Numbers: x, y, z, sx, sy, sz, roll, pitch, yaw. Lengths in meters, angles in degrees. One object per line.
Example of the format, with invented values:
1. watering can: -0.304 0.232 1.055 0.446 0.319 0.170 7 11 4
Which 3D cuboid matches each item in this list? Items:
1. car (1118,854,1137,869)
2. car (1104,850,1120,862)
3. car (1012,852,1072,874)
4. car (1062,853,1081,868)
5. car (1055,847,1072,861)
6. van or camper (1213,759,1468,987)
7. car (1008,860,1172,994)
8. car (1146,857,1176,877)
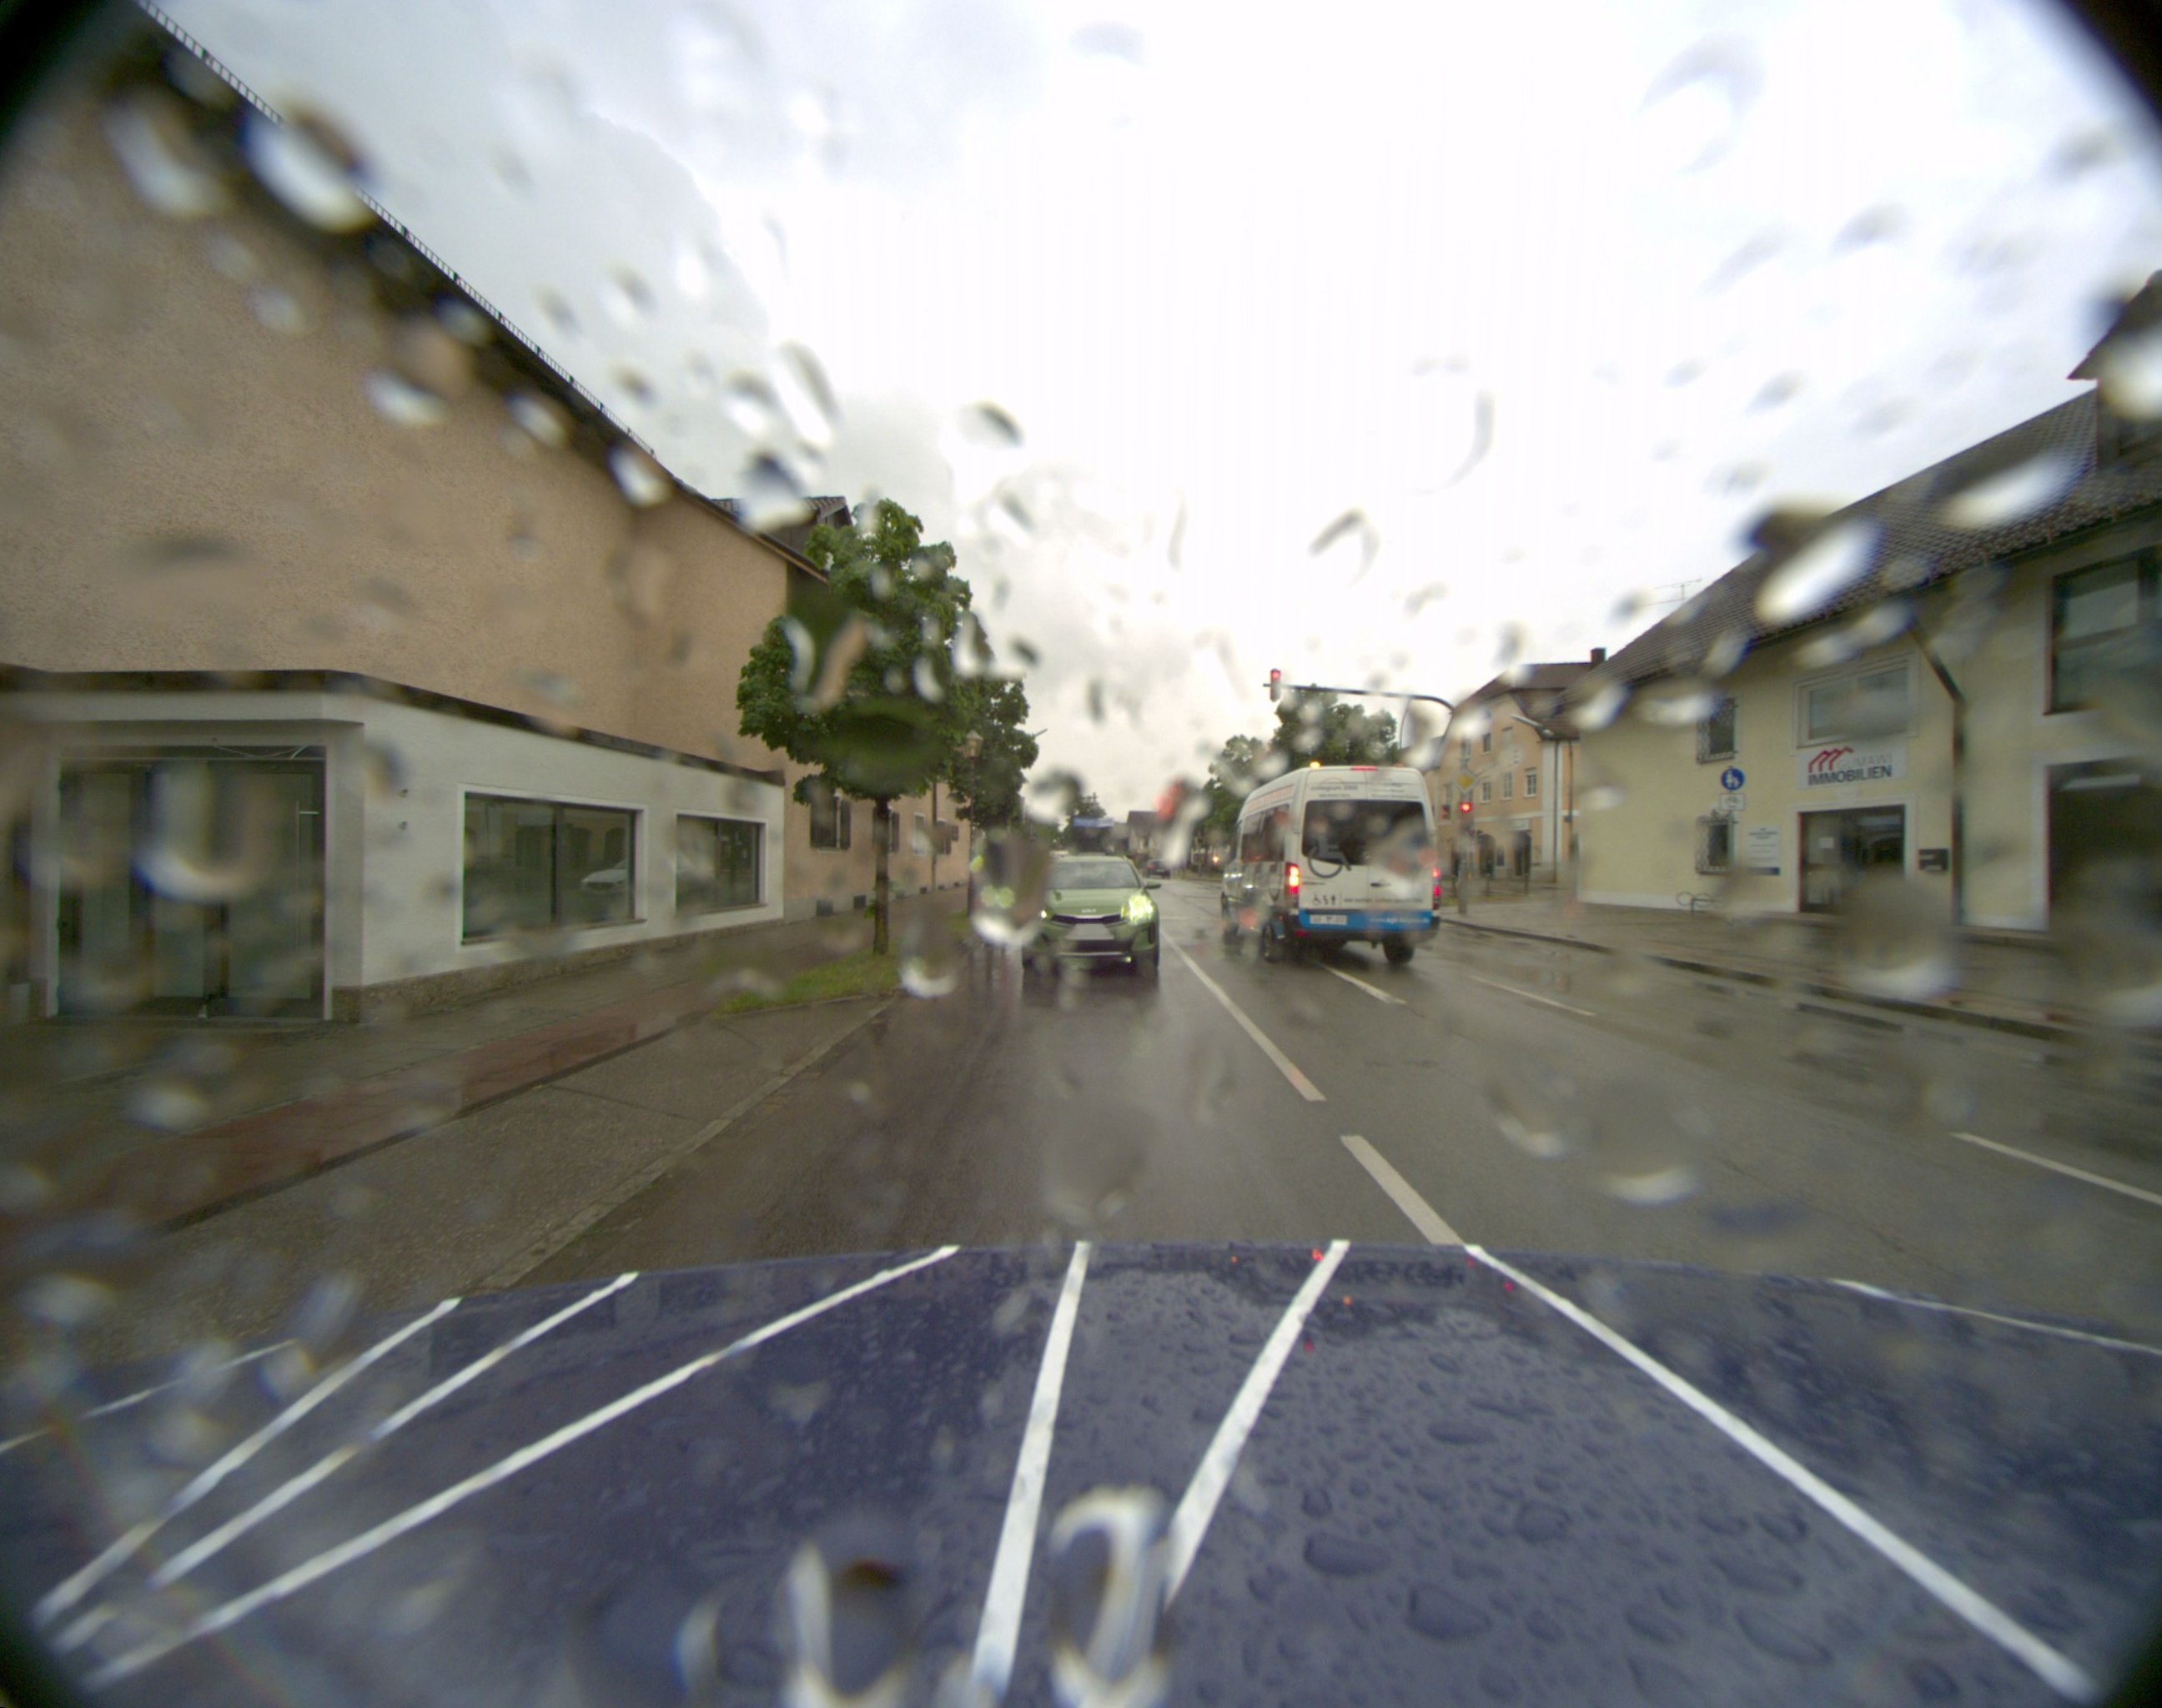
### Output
1. car: 5.011 0.772 82.242 1.757 1.502 4.229 2 0 -1
2. car: 4.063 0.280 99.477 1.931 1.557 4.125 1 0 0
3. car: -2.818 0.678 55.967 1.835 1.509 4.679 2 1 37
4. car: -0.856 0.617 72.736 1.677 1.399 3.695 1 0 1
5. car: -2.723 -0.055 115.475 2.218 1.977 4.952 1 0 -4
6. van or camper: 3.606 0.206 12.127 2.099 2.691 6.269 0 0 2
7. car: 0.155 0.866 10.847 1.872 1.504 4.105 -1 0 1
8. car: 6.177 0.991 59.091 2.001 1.399 3.883 1 0 1
